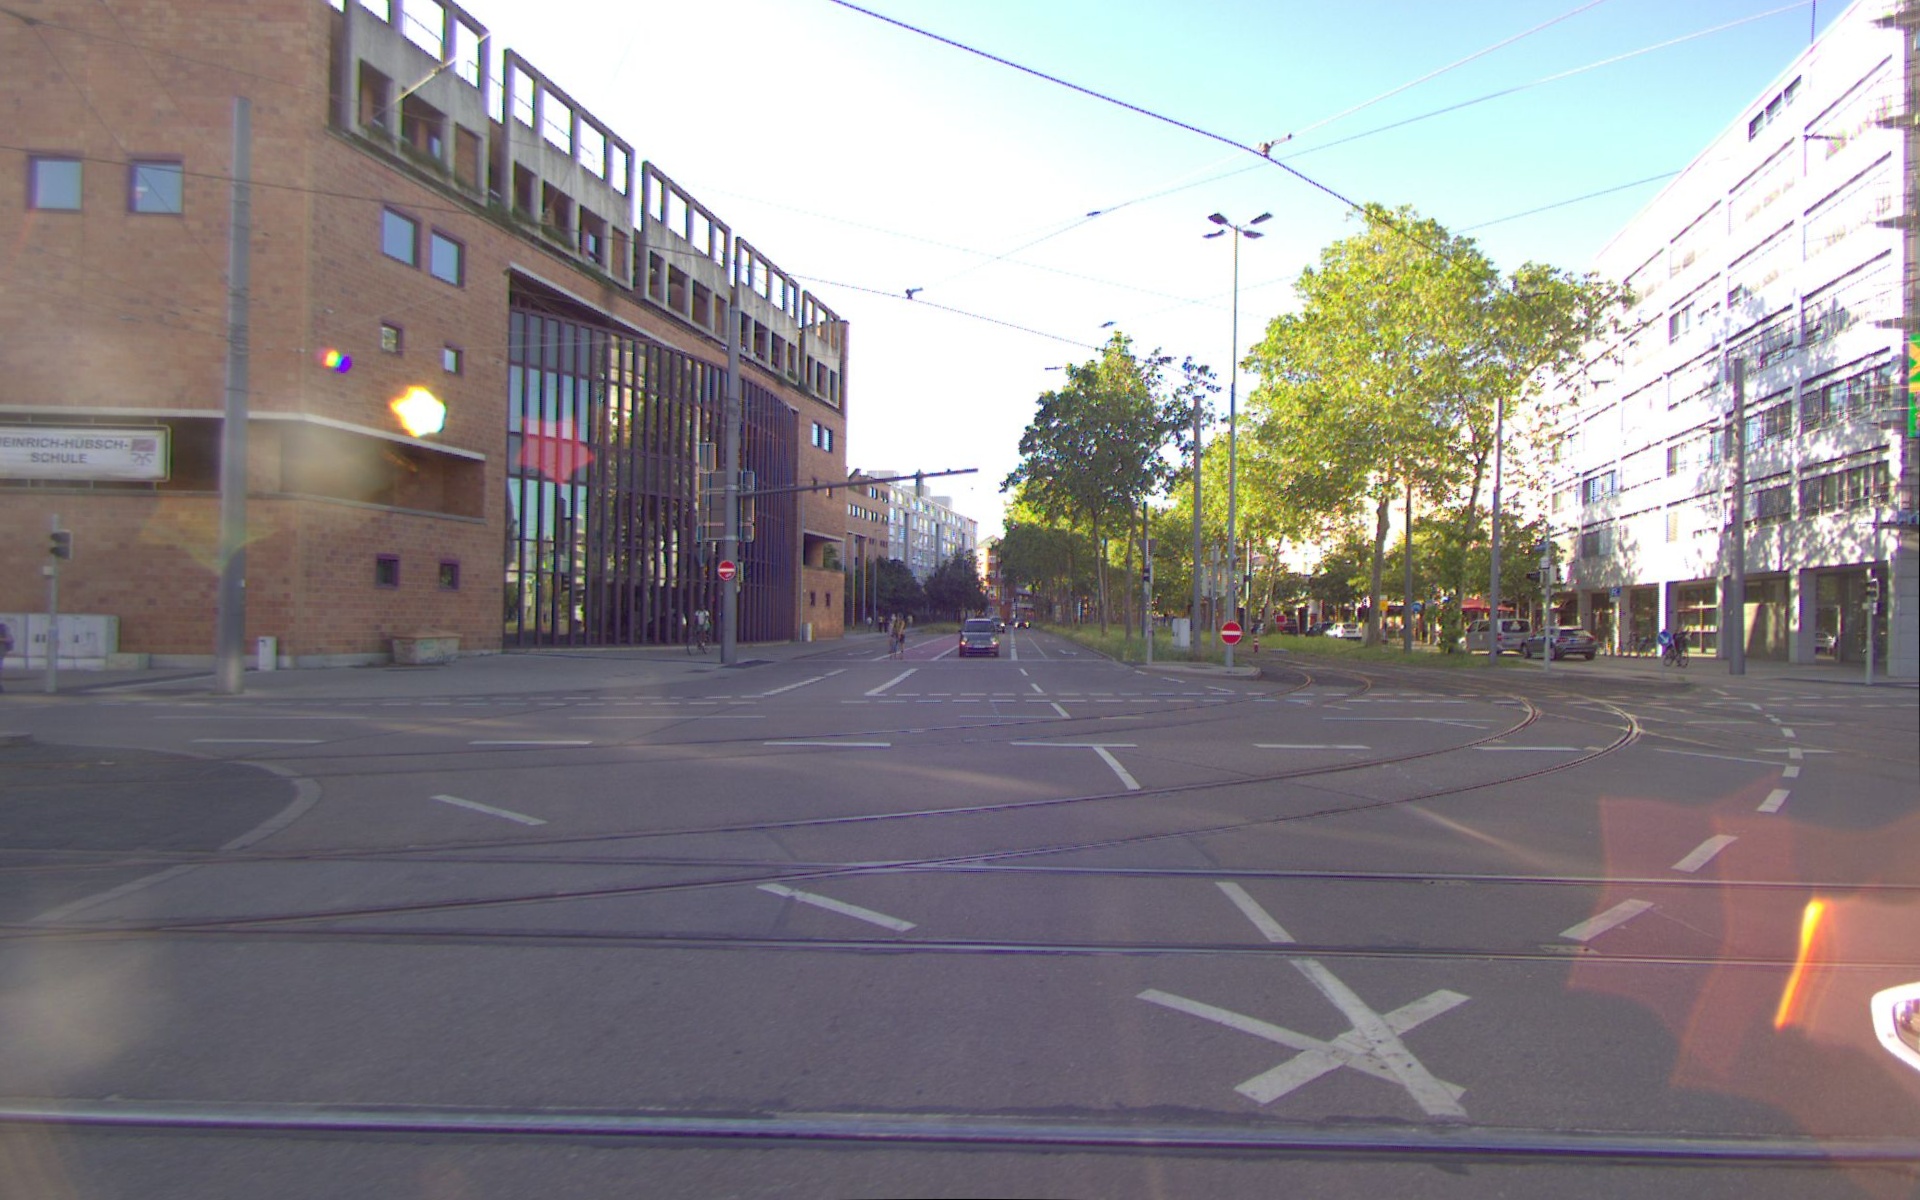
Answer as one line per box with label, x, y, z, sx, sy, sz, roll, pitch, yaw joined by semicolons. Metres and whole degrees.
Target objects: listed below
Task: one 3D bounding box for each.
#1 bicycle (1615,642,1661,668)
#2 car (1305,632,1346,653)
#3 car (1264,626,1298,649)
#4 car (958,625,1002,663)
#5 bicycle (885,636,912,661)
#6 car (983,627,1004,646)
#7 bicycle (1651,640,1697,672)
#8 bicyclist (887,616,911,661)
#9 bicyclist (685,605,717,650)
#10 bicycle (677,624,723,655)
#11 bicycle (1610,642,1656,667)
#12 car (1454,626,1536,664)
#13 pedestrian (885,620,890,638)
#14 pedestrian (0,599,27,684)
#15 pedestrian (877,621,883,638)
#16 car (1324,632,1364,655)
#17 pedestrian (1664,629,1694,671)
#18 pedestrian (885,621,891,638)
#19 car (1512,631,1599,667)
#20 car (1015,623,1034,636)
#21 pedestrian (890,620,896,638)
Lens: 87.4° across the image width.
bicycle;32.446;2.619;48.078;1.801;1.167;0.470;1;-1;8
car;29.938;3.474;82.404;1.954;1.650;4.087;1;-2;2
car;30.050;3.511;94.162;1.996;2.003;4.416;1;-1;2
car;0.774;1.752;40.983;1.623;1.346;3.622;2;0;0
bicycle;-2.334;1.830;38.150;0.526;0.925;1.570;2;-1;15
car;3.293;3.567;98.676;1.792;1.583;4.341;2;0;0
bicycle;28.500;2.211;40.137;0.600;1.179;1.848;-1;0;3
bicyclist;-2.327;1.463;38.167;0.611;1.643;0.815;2;-1;15
bicyclist;-9.655;1.024;37.438;0.673;1.611;0.927;2;-1;21
bicycle;-9.674;1.481;37.386;0.604;1.094;1.920;2;-1;21
bicycle;32.514;2.622;48.552;1.801;1.167;0.470;1;-1;8
car;28.033;2.330;52.821;1.890;1.868;4.927;0;-2;3
pedestrian;-6.139;2.472;85.412;0.312;1.476;0.342;2;-1;9
pedestrian;-18.900;0.811;19.796;0.496;1.638;0.509;2;0;-9
pedestrian;-6.706;2.462;83.919;0.358;1.438;0.332;2;-1;11
car;29.243;3.286;76.569;1.827;1.659;3.870;2;-1;6
pedestrian;28.706;1.987;40.115;0.594;1.632;0.838;-1;0;3
pedestrian;-5.999;2.448;83.862;0.384;1.435;0.459;2;-1;10
car;27.915;2.257;47.259;1.827;1.593;4.417;0;-2;6
car;8.457;3.836;131.575;1.959;1.519;3.897;2;0;9
pedestrian;-5.691;2.446;85.506;0.359;1.543;0.423;2;-1;11
